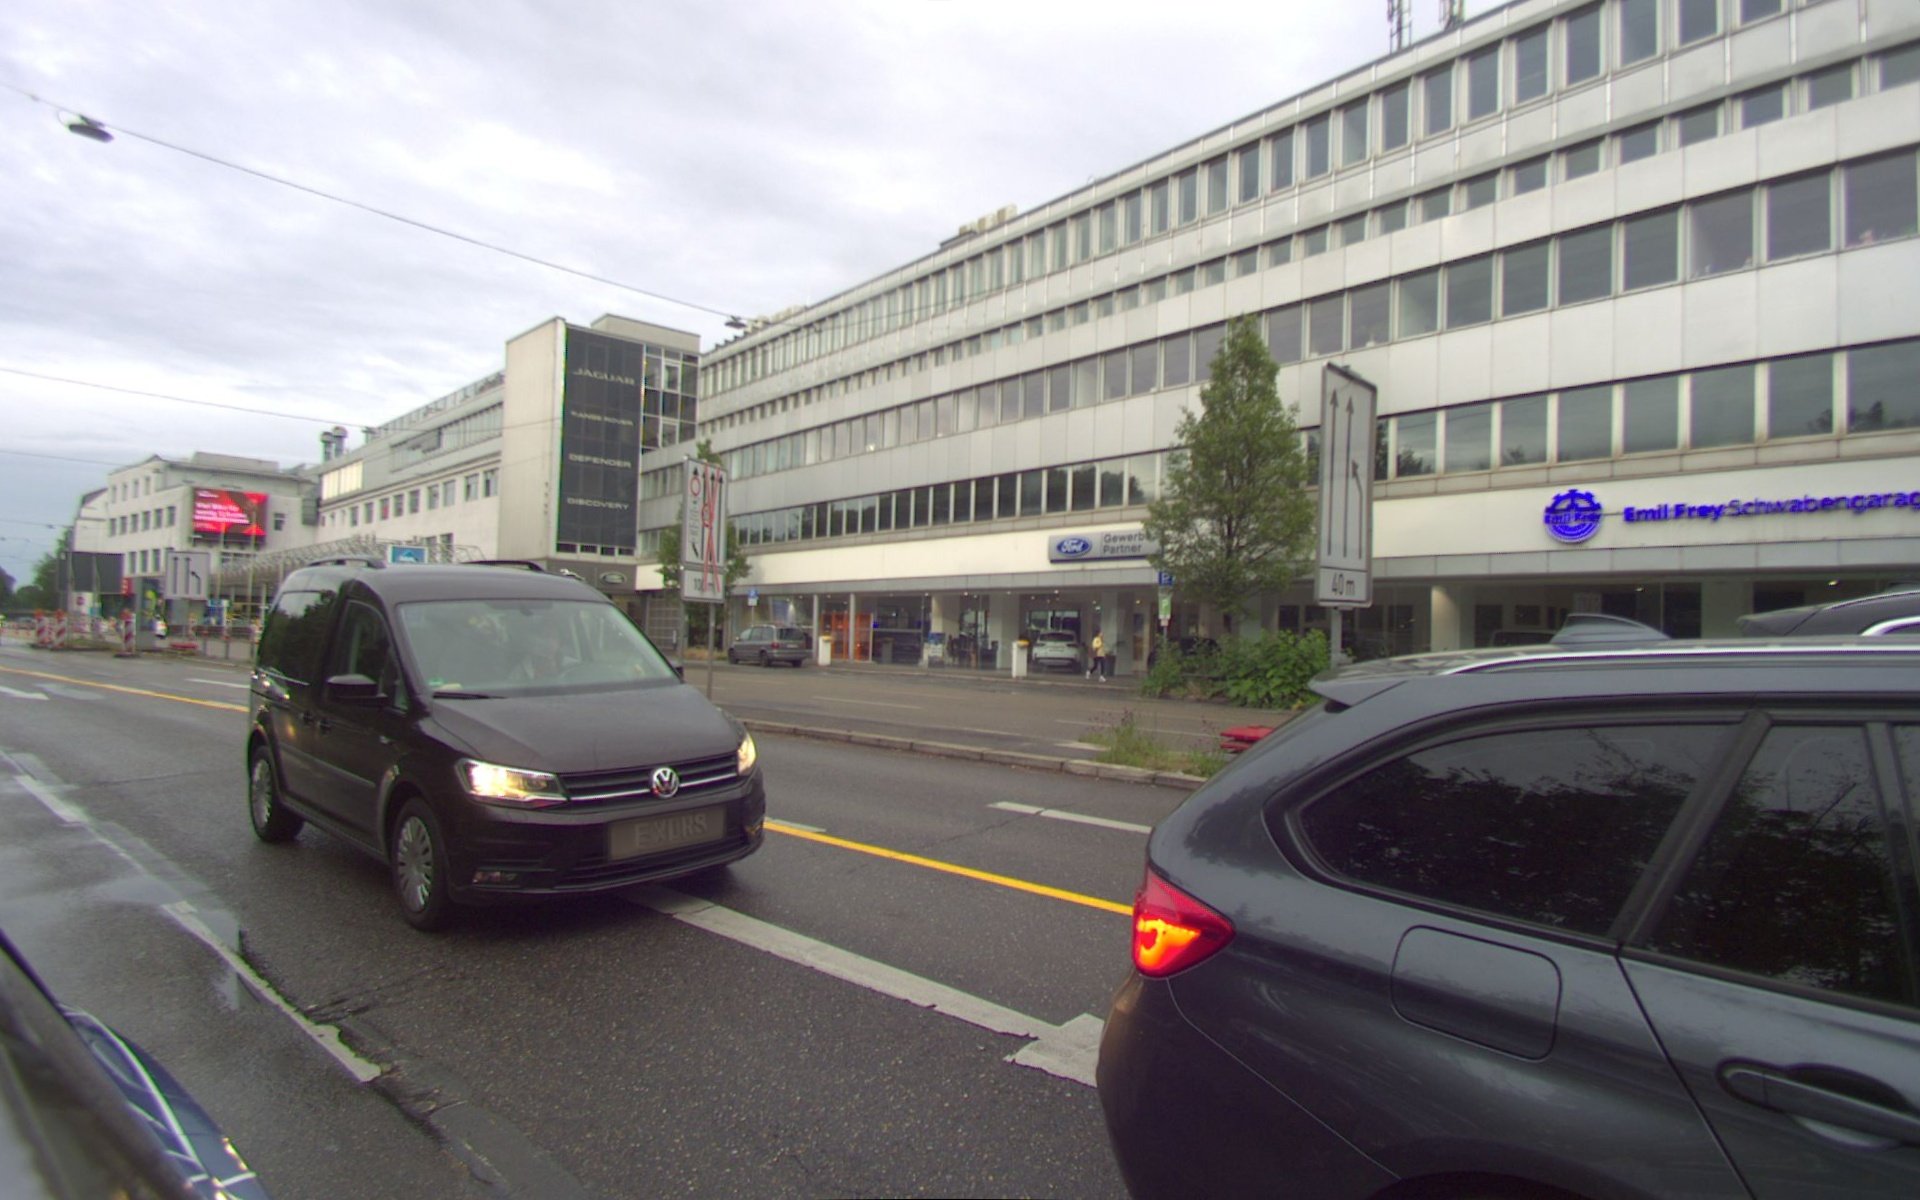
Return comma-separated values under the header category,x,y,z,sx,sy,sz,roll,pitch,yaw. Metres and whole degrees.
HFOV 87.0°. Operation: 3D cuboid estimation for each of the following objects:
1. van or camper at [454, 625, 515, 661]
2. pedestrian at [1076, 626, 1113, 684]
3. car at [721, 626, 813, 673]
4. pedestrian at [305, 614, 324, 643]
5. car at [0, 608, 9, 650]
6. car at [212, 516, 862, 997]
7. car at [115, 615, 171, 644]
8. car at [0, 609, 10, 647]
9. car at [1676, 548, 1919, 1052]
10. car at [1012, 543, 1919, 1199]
category,x,y,z,sx,sy,sz,roll,pitch,yaw
van or camper,-27.142,2.415,57.706,1.912,1.938,4.691,2,-3,-41
pedestrian,4.265,1.732,32.142,0.750,1.788,0.865,-1,0,-42
car,-8.272,2.068,43.174,1.895,1.829,4.169,-1,0,-44
pedestrian,-42.378,1.851,66.456,0.882,1.828,0.942,-1,0,-45
car,-39.648,1.163,40.675,4.333,1.650,1.747,-1,0,43
car,-2.780,0.606,6.048,4.429,1.828,1.880,-1,0,42
car,-48.258,1.773,59.742,3.761,1.544,1.783,-2,-6,40
car,-43.273,1.242,44.606,3.948,1.629,1.747,-1,0,43
car,4.914,0.640,2.918,4.445,1.668,1.789,-1,0,44
car,2.342,0.693,1.077,4.476,1.469,1.757,-1,-3,42
